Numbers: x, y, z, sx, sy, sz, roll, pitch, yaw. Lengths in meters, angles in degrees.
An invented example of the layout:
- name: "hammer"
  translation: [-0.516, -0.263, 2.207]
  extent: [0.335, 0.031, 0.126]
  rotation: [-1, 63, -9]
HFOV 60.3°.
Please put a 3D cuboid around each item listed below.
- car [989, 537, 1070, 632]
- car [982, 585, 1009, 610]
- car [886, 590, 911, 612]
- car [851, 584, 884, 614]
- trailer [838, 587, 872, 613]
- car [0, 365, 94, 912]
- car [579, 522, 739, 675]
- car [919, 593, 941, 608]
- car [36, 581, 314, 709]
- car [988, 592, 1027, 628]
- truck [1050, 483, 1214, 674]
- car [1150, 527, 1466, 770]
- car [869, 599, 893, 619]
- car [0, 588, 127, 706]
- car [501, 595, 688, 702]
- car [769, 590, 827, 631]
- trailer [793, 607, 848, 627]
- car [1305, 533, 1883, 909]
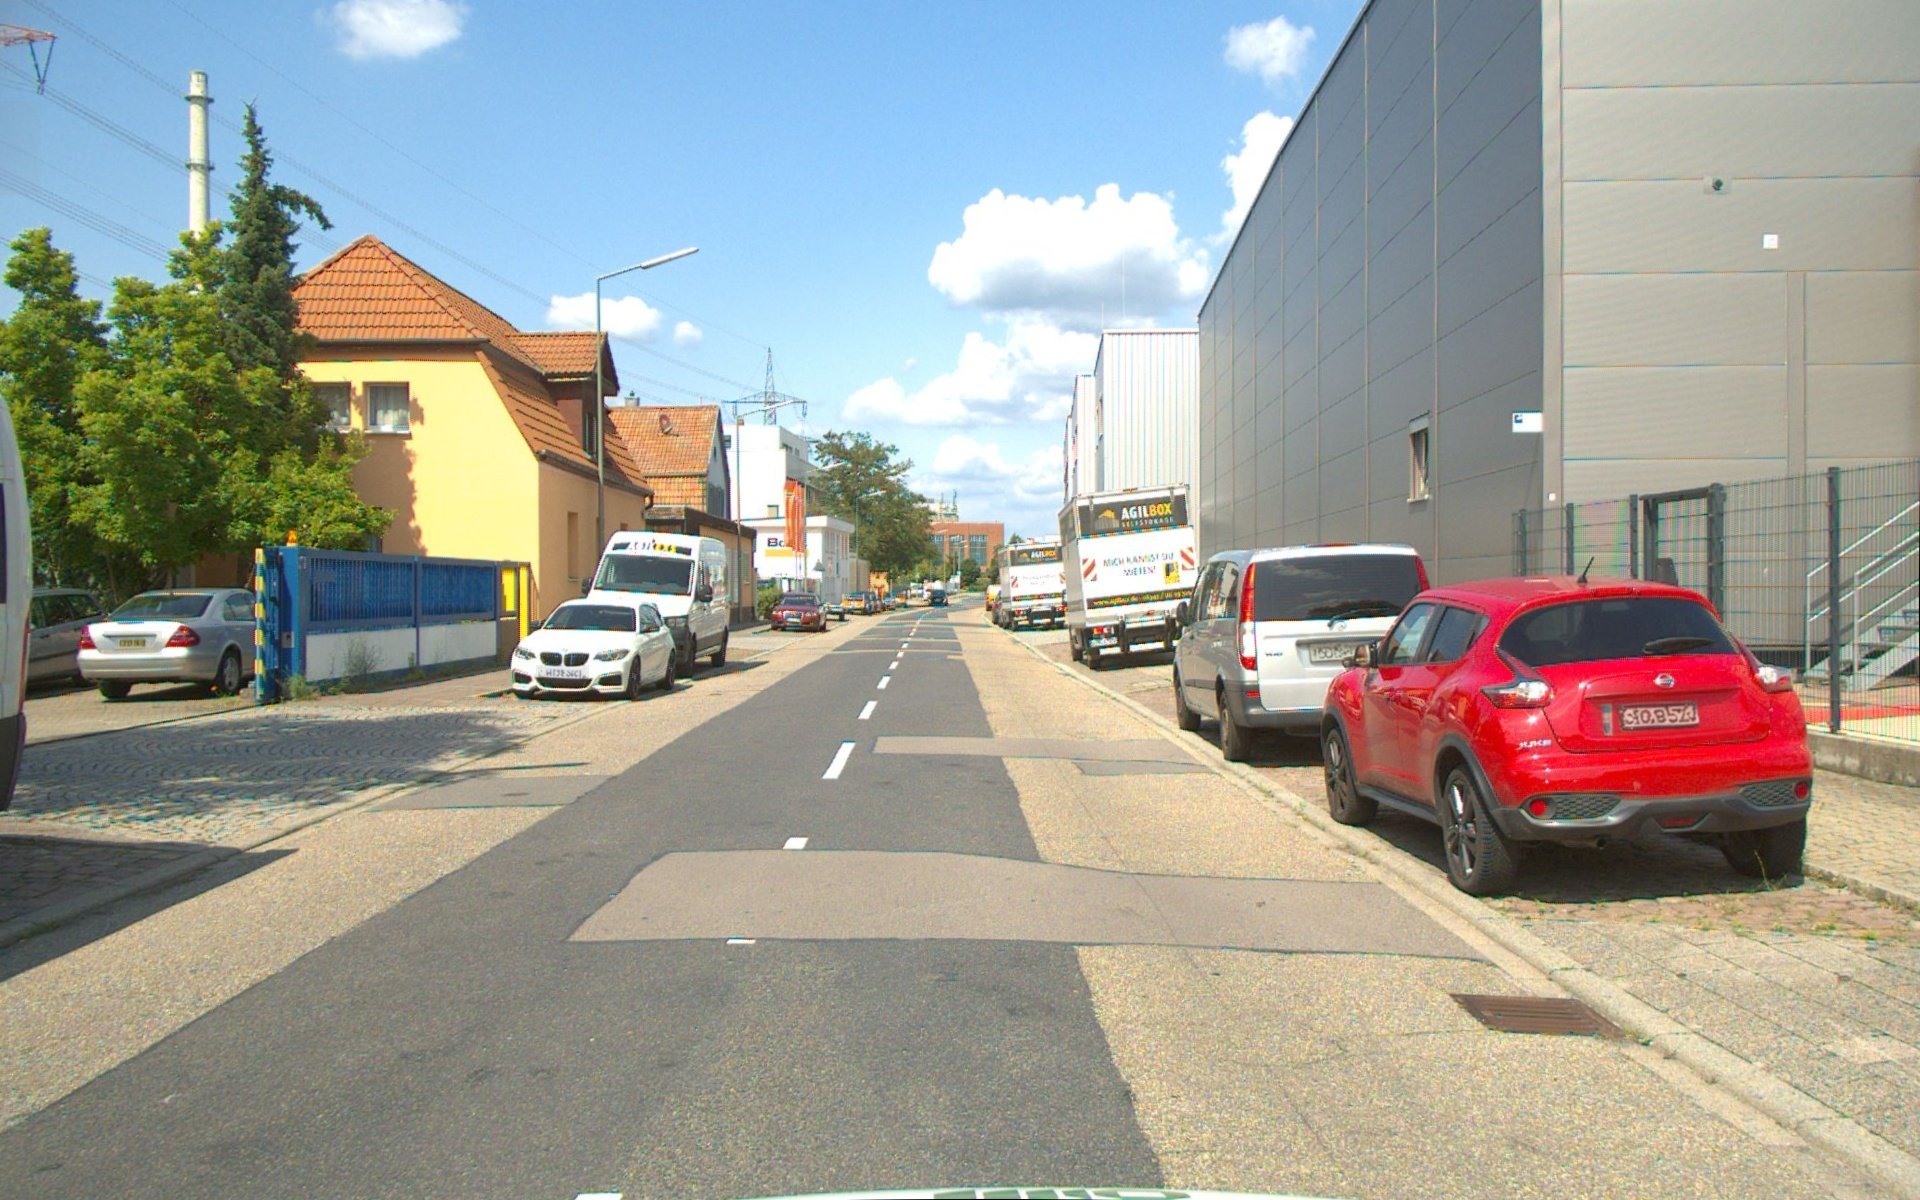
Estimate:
- name: "car"
  translation: [2.677, -0.575, 65.333]
  extent: [2.341, 3.421, 6.640]
  rotation: [-3, 0, -4]
- name: "car"
  translation: [2.611, -0.150, 120.058]
  extent: [1.899, 1.772, 4.377]
  rotation: [-1, 0, 2]
- name: "car"
  translation: [-5.318, 0.108, 142.738]
  extent: [1.882, 1.825, 4.001]
  rotation: [1, 0, 2]
- name: "car"
  translation: [-6.646, -0.078, 119.253]
  extent: [1.952, 2.049, 4.001]
  rotation: [1, 0, 2]
- name: "trailer"
  translation: [-6.573, 0.006, 103.863]
  extent: [1.953, 1.584, 4.253]
  rotation: [0, 0, -1]
- name: "car"
  translation: [-5.445, 0.149, 5.300]
  extent: [1.989, 2.602, 6.653]
  rotation: [2, 0, -2]
- name: "car"
  translation: [-5.671, -0.014, 32.116]
  extent: [1.986, 2.606, 6.837]
  rotation: [1, 0, -2]
- name: "car"
  translation: [-2.656, 0.054, 149.120]
  extent: [1.879, 1.307, 3.614]
  rotation: [-1, 0, 0]
- name: "car"
  translation: [-10.939, 0.559, 23.414]
  extent: [1.827, 1.488, 4.144]
  rotation: [-2, 2, 1]
- name: "car"
  translation: [2.219, 0.460, 77.767]
  extent: [1.732, 1.640, 3.873]
  rotation: [0, 0, 0]
- name: "truck"
  translation: [3.384, -0.400, 34.169]
  extent: [2.409, 3.350, 6.817]
  rotation: [-5, 0, 0]
- name: "car"
  translation: [3.260, 0.399, 16.652]
  extent: [2.012, 1.936, 5.147]
  rotation: [-4, 0, 0]
- name: "car"
  translation: [-5.977, 0.666, 124.768]
  extent: [1.634, 1.473, 3.453]
  rotation: [2, 0, 0]
- name: "car"
  translation: [-13.888, 0.663, 23.491]
  extent: [1.762, 1.493, 4.314]
  rotation: [0, 2, 3]
- name: "car"
  translation: [-5.408, 0.680, 25.048]
  extent: [1.759, 1.422, 4.501]
  rotation: [1, 0, 0]
- name: "car"
  translation: [-6.216, 0.410, 63.842]
  extent: [1.726, 1.473, 4.740]
  rotation: [2, 0, 0]
- name: "trailer"
  translation: [-6.941, 0.846, 82.647]
  extent: [2.314, 0.908, 5.568]
  rotation: [2, 0, -1]
- name: "car"
  translation: [3.384, 0.554, 9.750]
  extent: [1.670, 1.652, 4.091]
  rotation: [-3, 0, -2]
